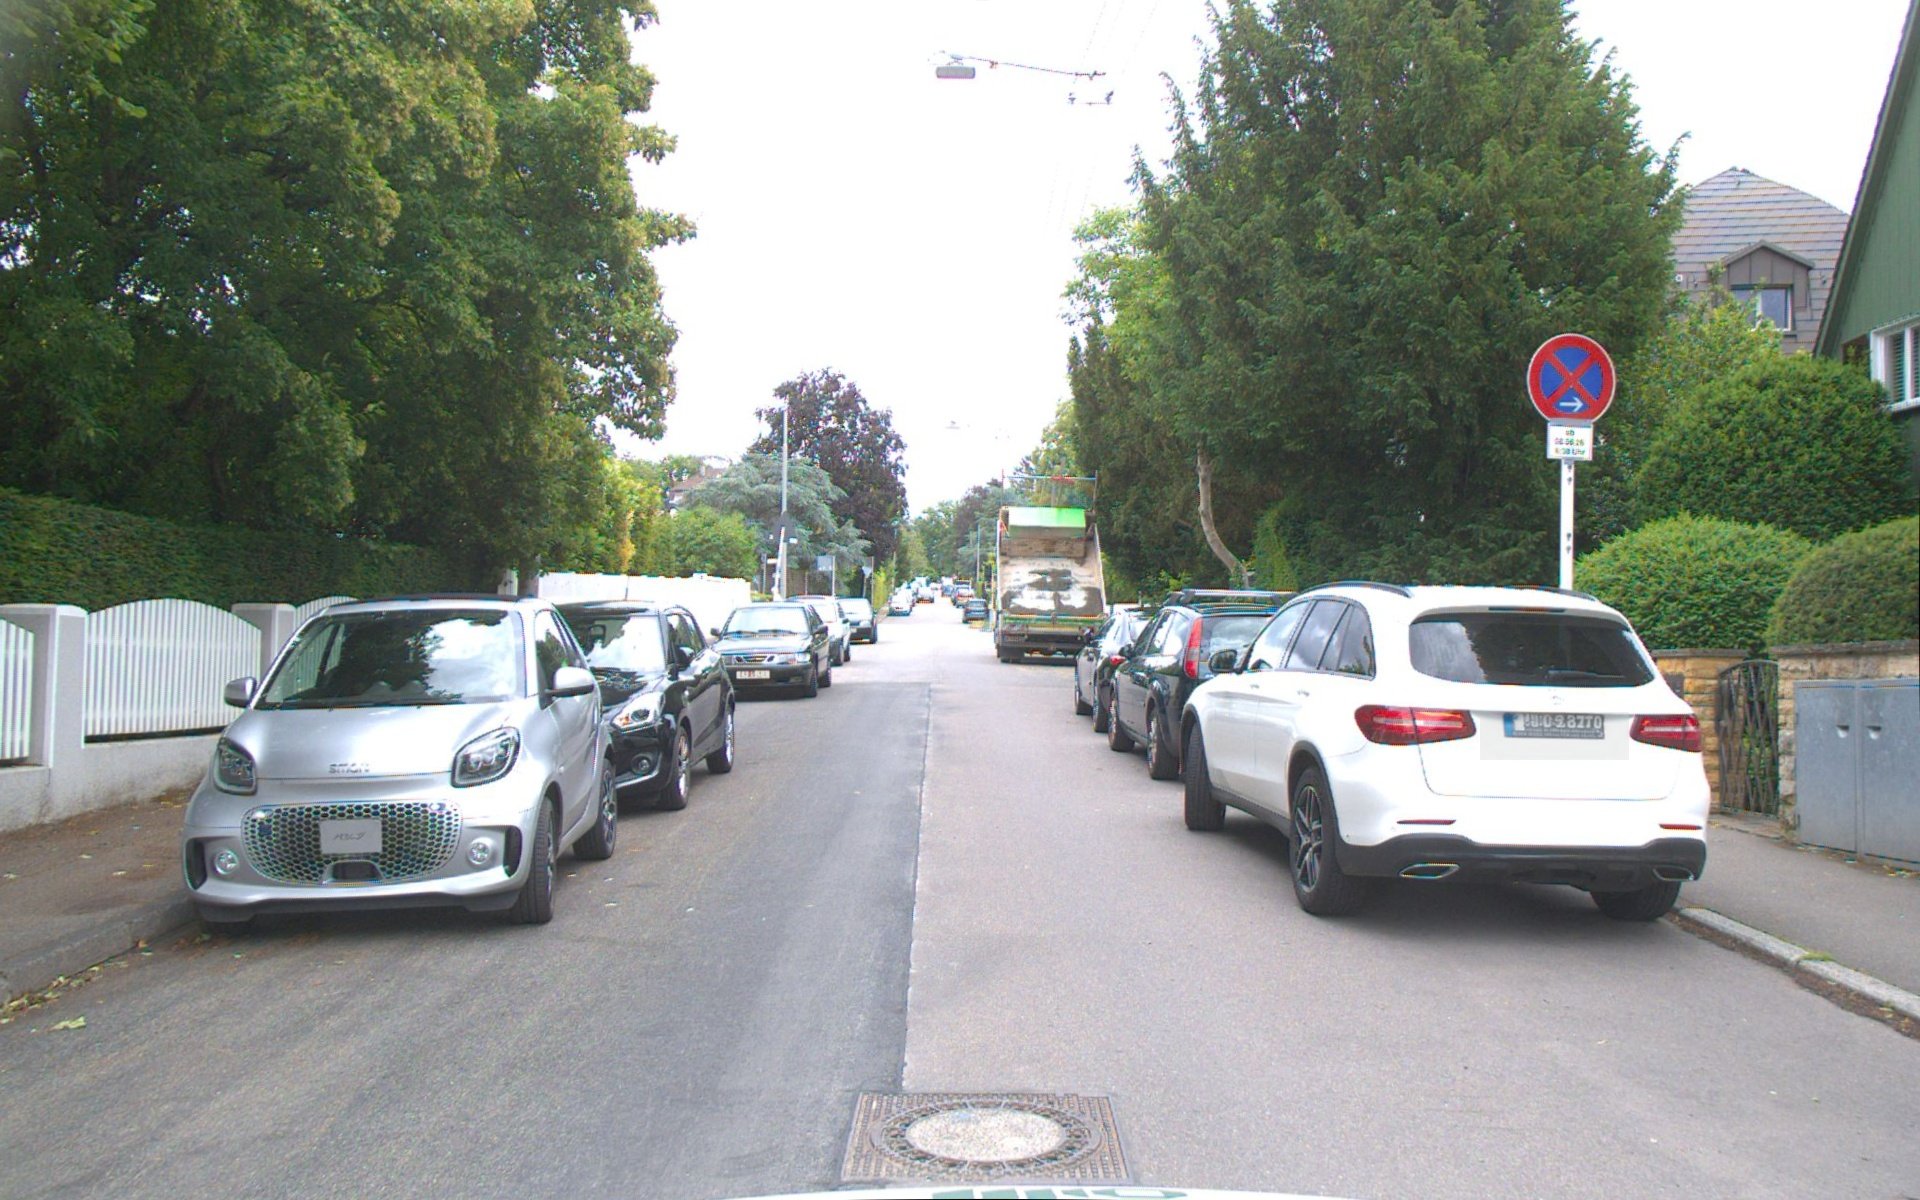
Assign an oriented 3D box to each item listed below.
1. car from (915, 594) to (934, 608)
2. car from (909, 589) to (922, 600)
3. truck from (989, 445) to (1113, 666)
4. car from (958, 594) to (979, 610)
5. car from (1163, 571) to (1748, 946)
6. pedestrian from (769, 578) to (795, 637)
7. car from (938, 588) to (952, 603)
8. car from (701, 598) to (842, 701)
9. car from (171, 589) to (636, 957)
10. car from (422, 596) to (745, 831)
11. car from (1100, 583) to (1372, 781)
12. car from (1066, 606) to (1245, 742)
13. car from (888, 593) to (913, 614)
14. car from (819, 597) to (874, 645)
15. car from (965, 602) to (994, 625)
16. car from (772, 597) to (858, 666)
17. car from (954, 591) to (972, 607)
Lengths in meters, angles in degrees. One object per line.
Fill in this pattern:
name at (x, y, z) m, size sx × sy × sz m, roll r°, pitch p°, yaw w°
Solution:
car at (-3.707, 0.116, 173.891) m, size 1.692 × 1.432 × 3.805 m, roll 1°, pitch 0°, yaw 3°
car at (-5.892, -0.710, 218.260) m, size 1.594 × 1.410 × 3.597 m, roll 3°, pitch 0°, yaw -2°
truck at (2.090, -0.985, 40.332) m, size 2.473 × 4.831 × 7.186 m, roll 2°, pitch 0°, yaw 0°
car at (0.790, 0.144, 153.606) m, size 1.774 × 1.359 × 3.631 m, roll 2°, pitch 1°, yaw -2°
car at (2.506, 0.713, 9.665) m, size 1.723 × 1.634 × 4.571 m, roll 2°, pitch 0°, yaw -4°
pedestrian at (-6.335, 0.258, 59.007) m, size 0.835 × 2.049 × 0.700 m, roll 2°, pitch -1°, yaw -6°
car at (-1.877, -0.570, 208.618) m, size 1.601 × 1.731 × 3.493 m, roll 1°, pitch 0°, yaw -2°
car at (-2.908, 0.722, 26.363) m, size 1.607 × 1.447 × 4.550 m, roll -2°, pitch 0°, yaw 1°
car at (-2.726, 0.750, 8.745) m, size 1.590 × 1.560 × 2.960 m, roll -2°, pitch 0°, yaw -4°
car at (-2.768, 0.753, 13.003) m, size 1.621 × 1.507 × 3.887 m, roll -2°, pitch 0°, yaw 0°
car at (2.421, 0.668, 15.550) m, size 1.664 × 1.598 × 4.306 m, roll 0°, pitch 0°, yaw -3°
car at (2.333, 0.834, 20.764) m, size 1.618 × 1.449 × 4.660 m, roll 2°, pitch 0°, yaw -1°
car at (-4.653, 0.278, 129.831) m, size 1.676 × 1.613 × 4.001 m, roll 1°, pitch 0°, yaw 2°
car at (-3.599, 0.638, 53.090) m, size 1.604 × 1.419 × 3.987 m, roll -1°, pitch 0°, yaw -2°
car at (1.252, 0.870, 109.993) m, size 1.743 × 1.515 × 3.998 m, roll 1°, pitch 0°, yaw -2°
car at (-3.245, 0.680, 37.587) m, size 1.563 × 1.458 × 4.000 m, roll -1°, pitch 0°, yaw 0°
car at (0.279, -0.084, 163.141) m, size 1.753 × 1.556 × 3.734 m, roll 1°, pitch 0°, yaw 1°
